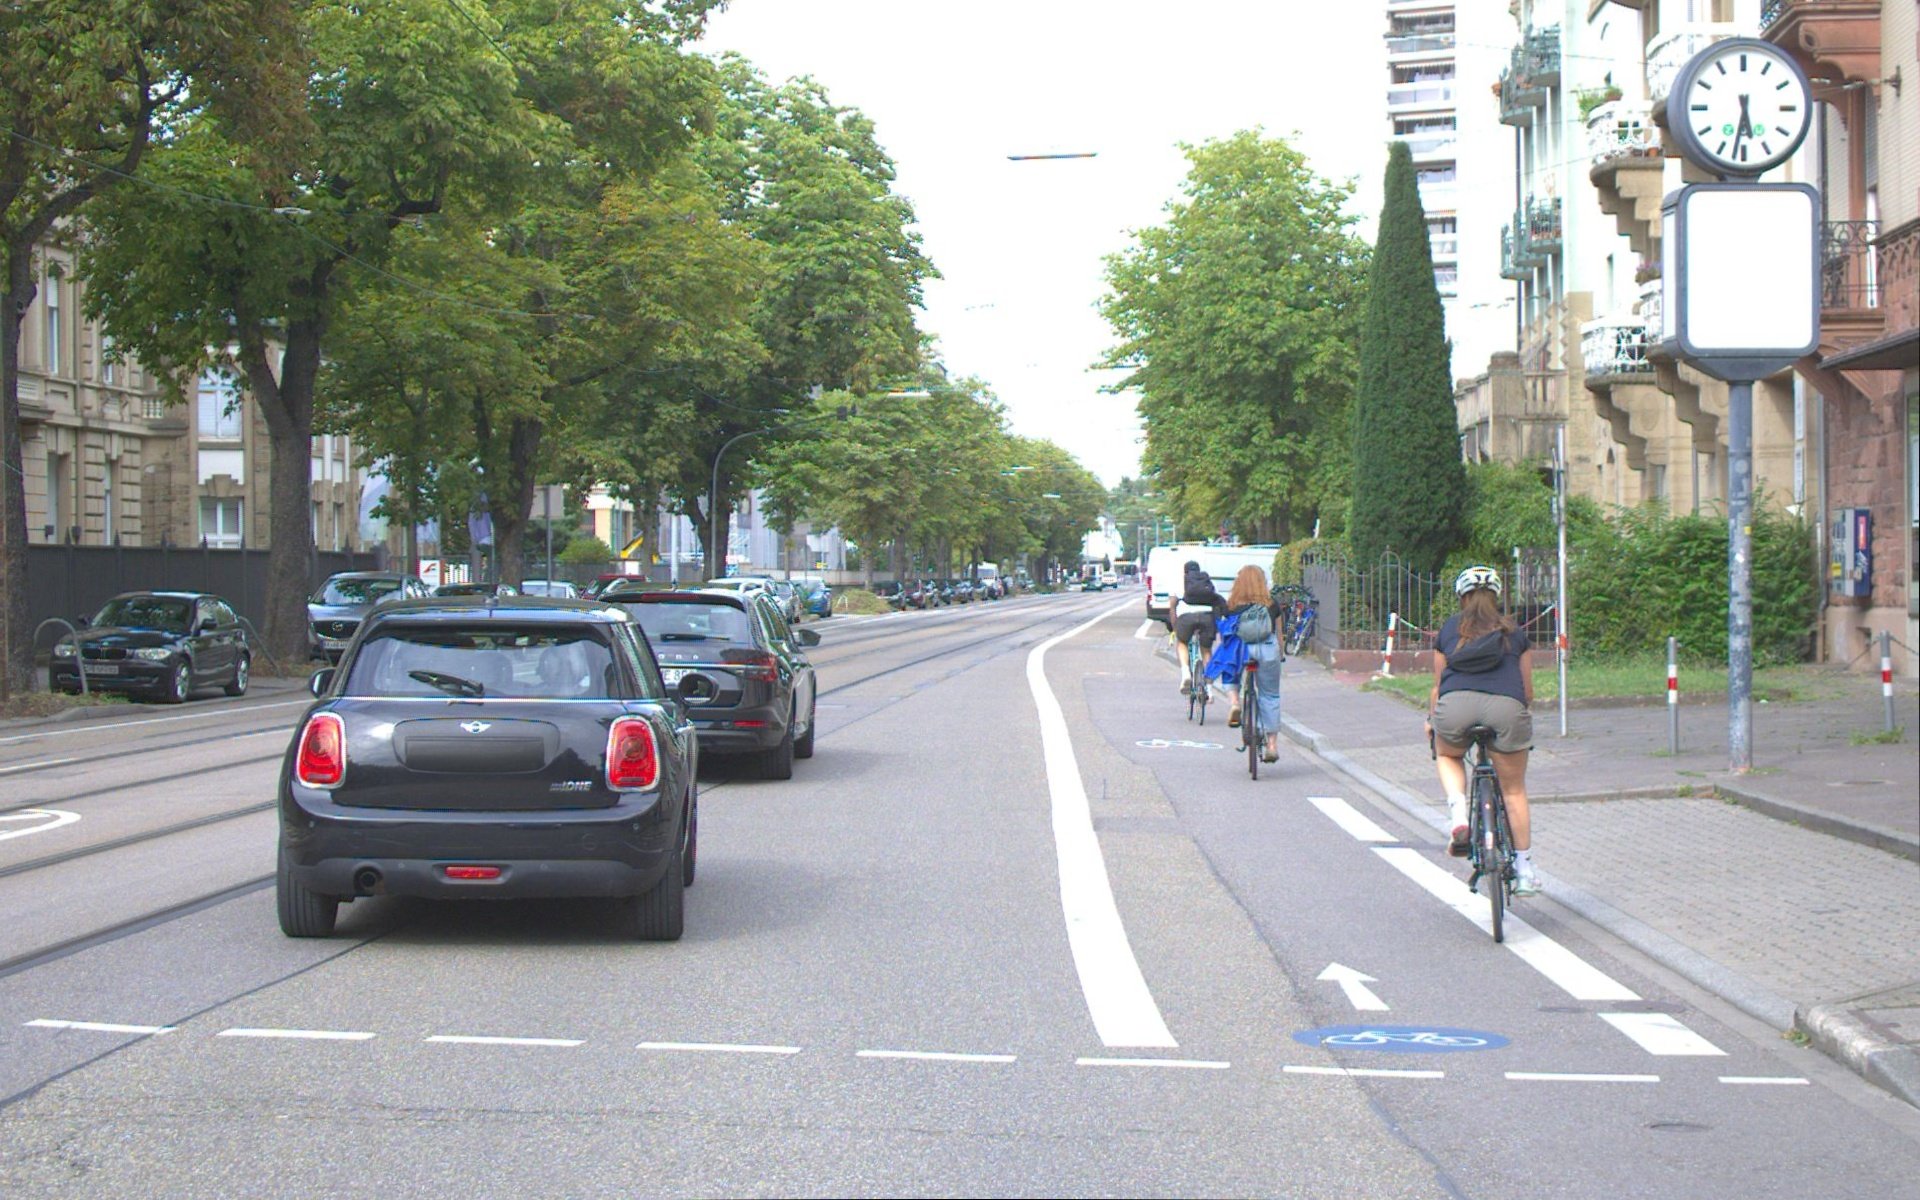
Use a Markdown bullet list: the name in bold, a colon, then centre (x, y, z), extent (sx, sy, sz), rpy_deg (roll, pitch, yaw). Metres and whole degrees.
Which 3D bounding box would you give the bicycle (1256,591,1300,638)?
- **bicycle**: centre (6.271, 0.283, 67.872), extent (0.485, 0.904, 1.665), rpy_deg (-1, 0, -7)

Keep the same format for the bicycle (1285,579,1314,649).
- **bicycle**: centre (5.737, 0.229, 58.160), extent (0.391, 1.138, 1.920), rpy_deg (-2, 0, 4)

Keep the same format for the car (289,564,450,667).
- **car**: centre (-9.898, 0.233, 57.927), extent (1.710, 1.668, 4.357), rpy_deg (0, 1, 3)

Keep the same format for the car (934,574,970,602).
- **car**: centre (-0.448, -0.702, 199.998), extent (1.802, 1.578, 4.031), rpy_deg (-1, 0, 3)

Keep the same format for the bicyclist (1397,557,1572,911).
- **bicyclist**: centre (2.401, 0.591, 15.835), extent (0.638, 1.565, 1.110), rpy_deg (1, 0, 1)

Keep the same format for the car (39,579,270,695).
- **car**: centre (-10.737, 0.463, 46.099), extent (1.720, 1.420, 4.165), rpy_deg (2, 1, 6)

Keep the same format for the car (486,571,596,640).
- **car**: centre (-9.266, 0.110, 76.274), extent (1.721, 1.419, 4.023), rpy_deg (2, 0, 3)

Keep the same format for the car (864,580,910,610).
- **car**: centre (-3.396, -0.228, 159.998), extent (1.802, 1.369, 4.031), rpy_deg (-1, 0, 3)

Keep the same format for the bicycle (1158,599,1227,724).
- **bicycle**: centre (2.439, 0.629, 36.262), extent (0.657, 1.244, 2.125), rpy_deg (1, 1, 3)

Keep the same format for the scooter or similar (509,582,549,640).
- **scooter or similar**: centre (-9.198, 0.220, 73.372), extent (0.561, 1.219, 1.324), rpy_deg (0, 0, -20)

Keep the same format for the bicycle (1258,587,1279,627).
- **bicycle**: centre (7.219, 0.167, 80.525), extent (0.386, 0.904, 1.842), rpy_deg (-1, 0, 2)

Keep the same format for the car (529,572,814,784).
- **car**: centre (-2.158, 0.545, 26.705), extent (1.793, 1.465, 4.000), rpy_deg (2, 0, 1)

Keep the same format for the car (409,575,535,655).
- **car**: centre (-9.280, 0.266, 65.647), extent (1.601, 1.463, 4.079), rpy_deg (0, 1, 3)

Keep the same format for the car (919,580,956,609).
- **car**: centre (-1.224, -0.317, 190.321), extent (1.802, 1.578, 4.031), rpy_deg (-1, 0, 3)

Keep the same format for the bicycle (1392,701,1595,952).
- **bicycle**: centre (2.395, 0.991, 15.643), extent (0.638, 0.977, 2.071), rpy_deg (1, 0, 1)

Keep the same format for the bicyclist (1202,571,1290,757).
- **bicyclist**: centre (2.299, 0.505, 27.574), extent (0.647, 1.465, 0.800), rpy_deg (-1, 1, 8)

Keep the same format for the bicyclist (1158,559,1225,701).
- **bicyclist**: centre (2.430, 0.304, 36.236), extent (0.657, 1.458, 1.178), rpy_deg (1, 0, 3)

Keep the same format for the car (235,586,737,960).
- **car**: centre (-2.013, 0.681, 15.675), extent (1.793, 1.418, 4.000), rpy_deg (2, 0, -1)

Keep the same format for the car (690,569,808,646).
- **car**: centre (-4.168, 0.131, 68.399), extent (1.571, 1.411, 3.999), rpy_deg (-2, 0, 7)

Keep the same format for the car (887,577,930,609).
- **car**: centre (-2.529, -0.348, 170.354), extent (1.802, 1.578, 4.031), rpy_deg (-1, 0, 3)

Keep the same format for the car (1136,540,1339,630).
- **car**: centre (7.193, -0.373, 88.882), extent (4.944, 2.282, 2.384), rpy_deg (0, 0, -39)

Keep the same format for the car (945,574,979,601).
- **car**: centre (0.125, -0.776, 209.058), extent (1.802, 1.578, 4.031), rpy_deg (-1, 0, 3)

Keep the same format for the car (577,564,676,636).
- **car**: centre (-8.211, -0.015, 84.926), extent (1.721, 1.649, 4.542), rpy_deg (2, 0, 3)

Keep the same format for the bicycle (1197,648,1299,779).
- **bicycle**: centre (2.354, 0.904, 27.925), extent (0.688, 0.959, 2.036), rpy_deg (0, 1, 9)

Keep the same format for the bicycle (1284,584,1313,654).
- **bicycle**: centre (5.458, 0.300, 55.459), extent (0.391, 1.099, 1.759), rpy_deg (-2, 0, 4)
